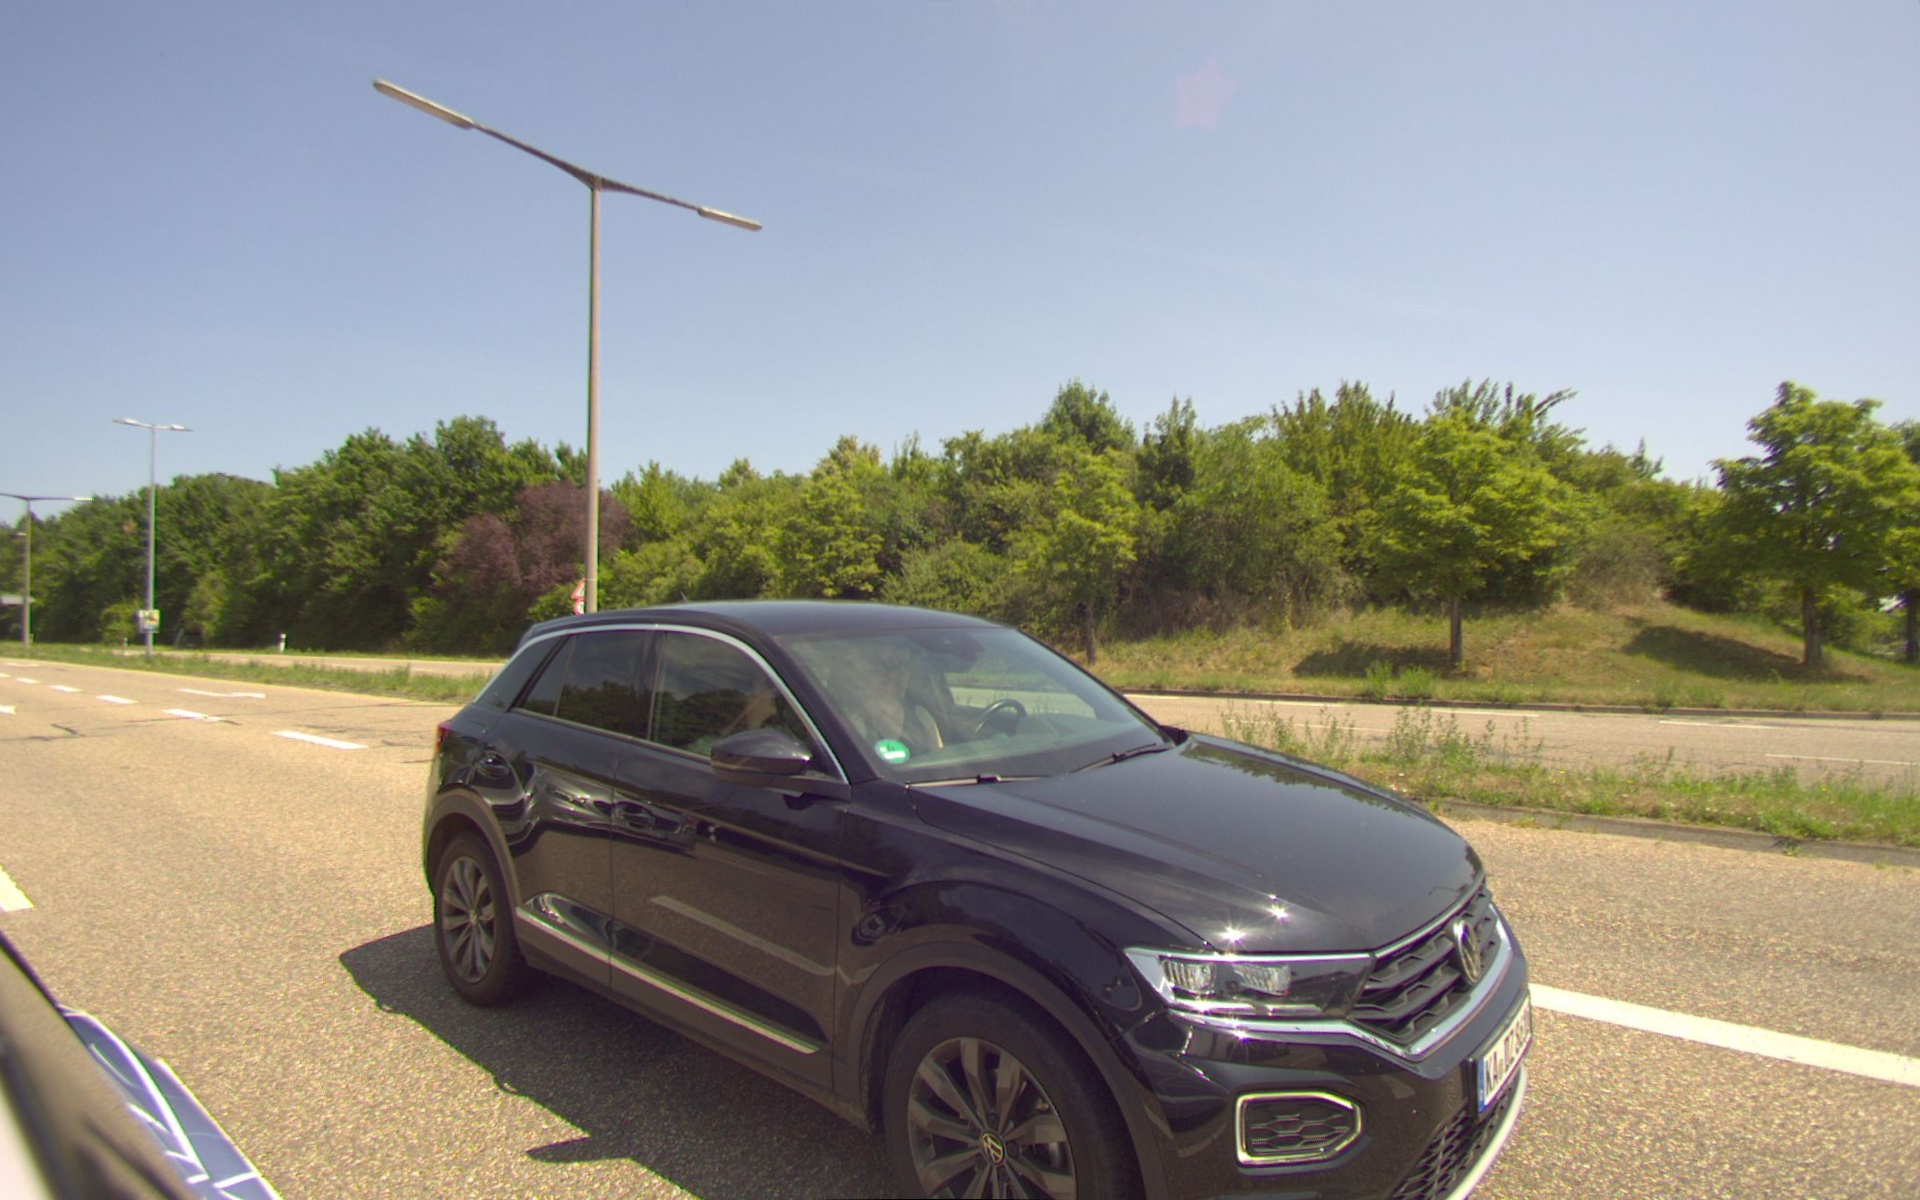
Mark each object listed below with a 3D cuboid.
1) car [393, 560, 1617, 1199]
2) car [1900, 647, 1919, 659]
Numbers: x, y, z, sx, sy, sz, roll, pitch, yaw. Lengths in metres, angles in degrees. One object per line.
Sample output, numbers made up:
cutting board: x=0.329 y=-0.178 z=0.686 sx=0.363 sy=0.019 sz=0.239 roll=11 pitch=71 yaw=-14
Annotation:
car: x=-0.247 y=0.716 z=3.444 sx=3.969 sy=1.523 sz=1.716 roll=-1 pitch=0 yaw=41
car: x=117.980 y=6.533 z=125.187 sx=1.697 sy=1.346 sz=3.957 roll=-1 pitch=-2 yaw=31
